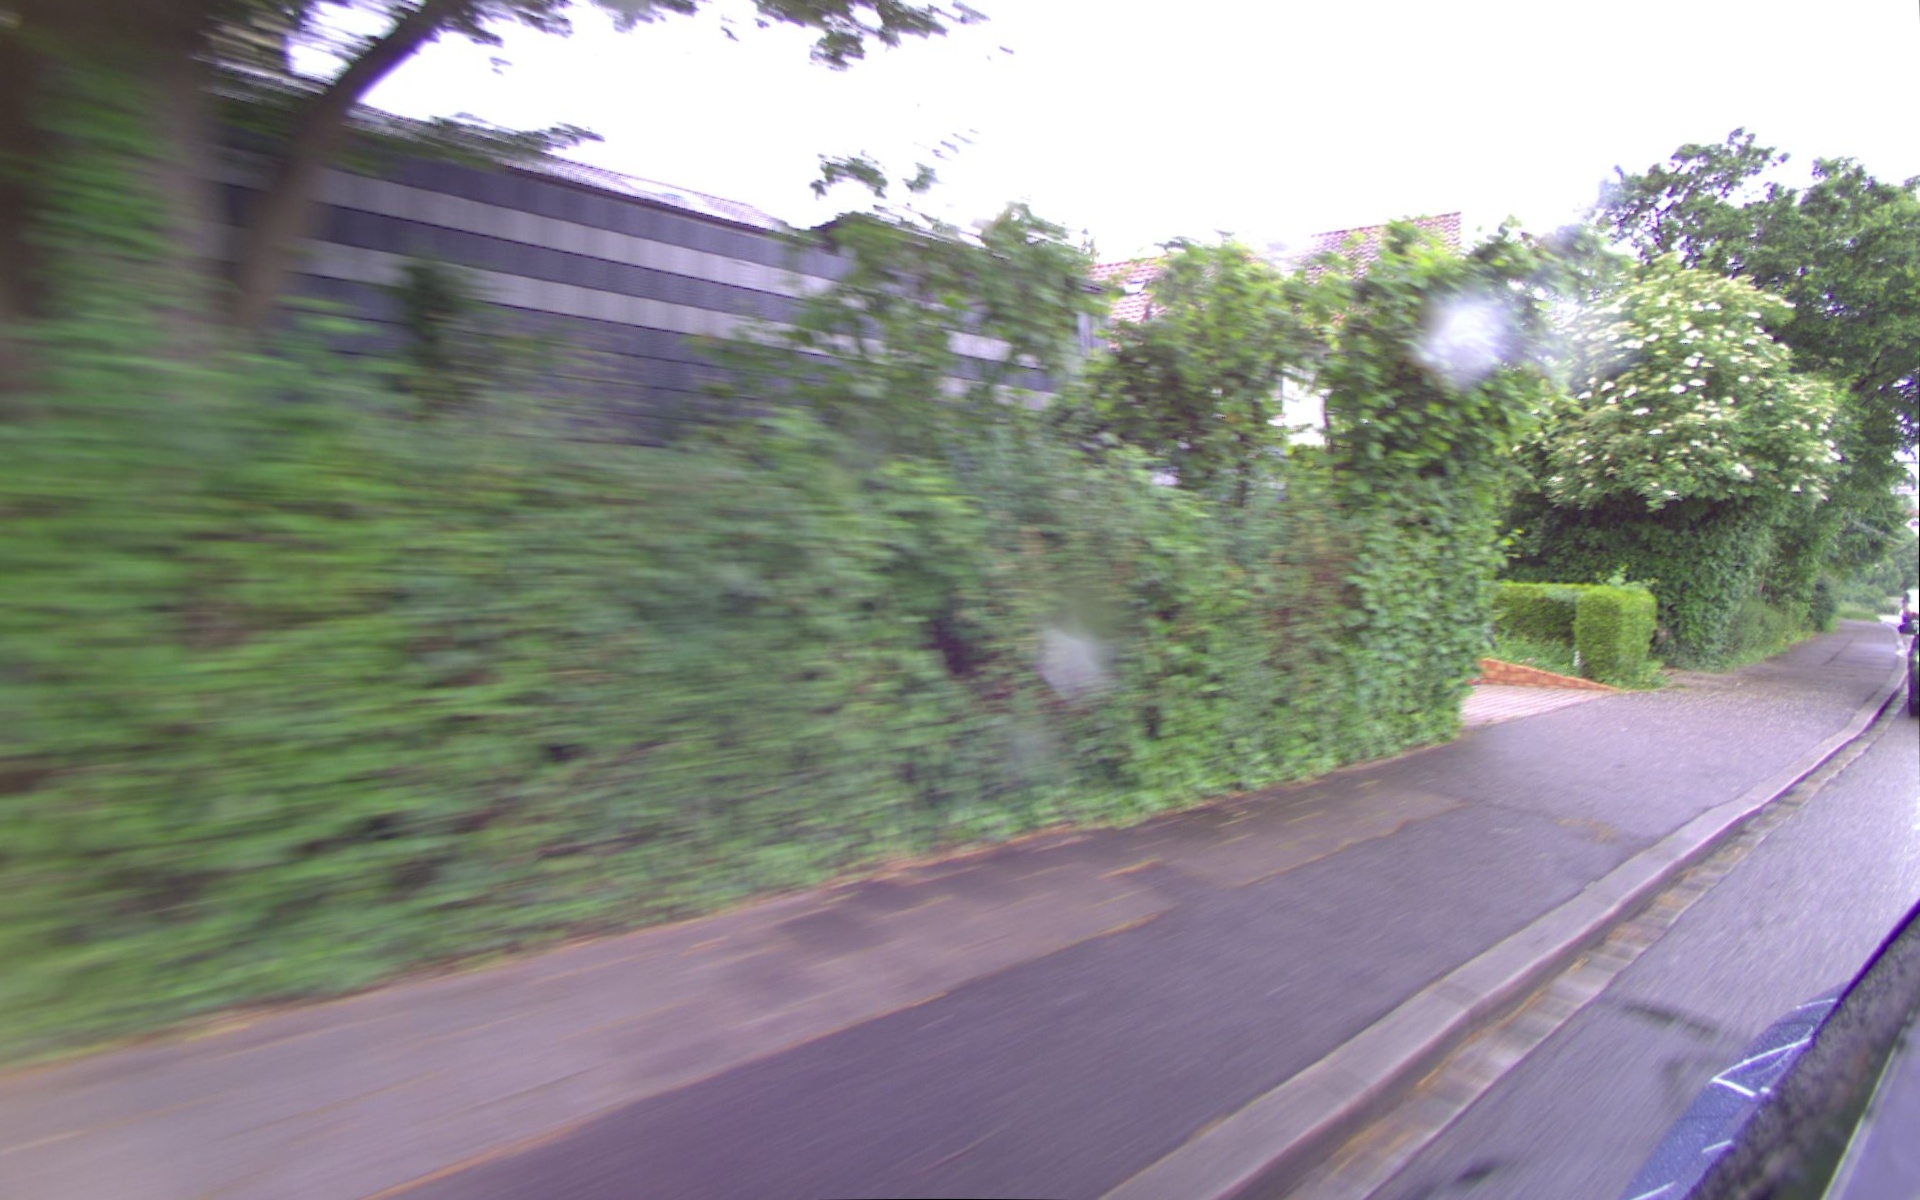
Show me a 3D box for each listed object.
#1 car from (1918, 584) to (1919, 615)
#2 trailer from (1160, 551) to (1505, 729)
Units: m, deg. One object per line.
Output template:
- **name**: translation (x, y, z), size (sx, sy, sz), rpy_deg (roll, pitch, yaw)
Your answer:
- **car**: translation (53.732, -0.016, 55.434), size (1.698, 1.701, 4.218), rpy_deg (2, 2, 42)
- **trailer**: translation (3.855, 0.484, 10.766), size (1.464, 1.591, 2.981), rpy_deg (-1, -5, -43)
